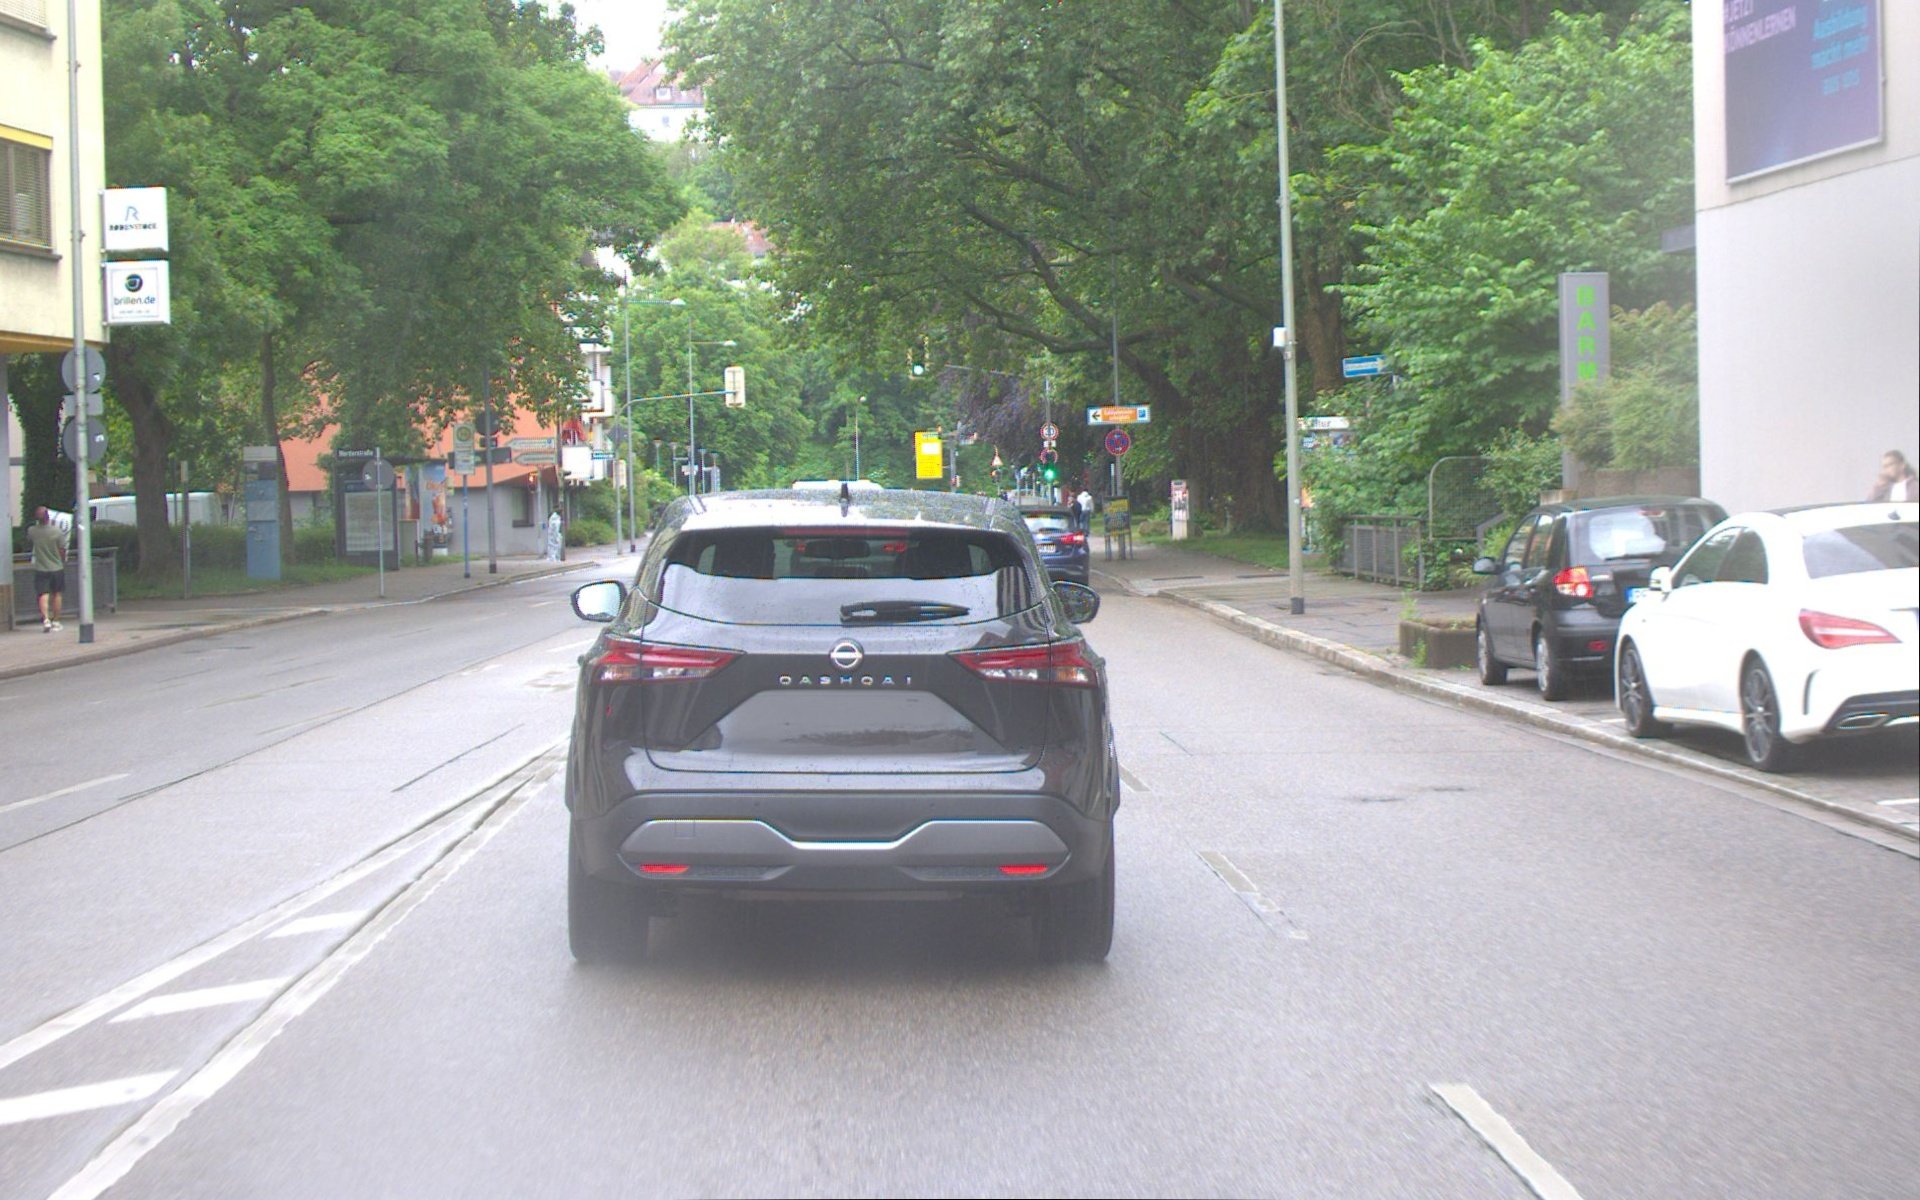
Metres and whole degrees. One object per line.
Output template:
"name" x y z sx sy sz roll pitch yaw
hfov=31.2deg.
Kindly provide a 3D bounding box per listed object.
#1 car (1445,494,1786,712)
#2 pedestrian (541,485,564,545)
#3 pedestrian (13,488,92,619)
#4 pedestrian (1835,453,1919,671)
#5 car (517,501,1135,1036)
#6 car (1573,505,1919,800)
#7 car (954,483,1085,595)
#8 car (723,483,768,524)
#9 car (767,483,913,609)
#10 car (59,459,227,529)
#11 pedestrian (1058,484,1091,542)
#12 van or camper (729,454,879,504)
"car" 4.919 -0.042 26.313 1.714 1.437 4.082 -3 2 -1
"pedestrian" -12.135 -2.525 102.338 0.666 1.785 0.722 0 2 -8
"pedestrian" -11.925 -0.618 45.173 0.798 1.682 0.817 -1 2 -2
"pedestrian" 7.628 -0.320 28.125 0.612 1.731 0.681 -3 1 -8
"car" -0.532 0.460 12.558 1.894 1.623 4.001 0 2 -4
"car" 5.021 0.204 19.881 1.774 1.396 4.581 -3 2 -4
"car" 1.008 -1.080 60.647 1.945 1.810 4.001 -3 1 -3
"car" -9.617 -4.357 154.380 1.821 1.790 3.866 0 2 0
"car" -1.730 -0.809 50.713 1.946 1.679 4.000 -3 1 0
"car" -20.596 -2.682 86.766 3.833 1.728 1.880 0 2 -3
"pedestrian" 3.518 -2.672 105.558 0.667 1.785 0.721 -1 3 -43
"van or camper" -11.471 -8.861 252.406 10.929 3.545 3.185 0 2 -3
